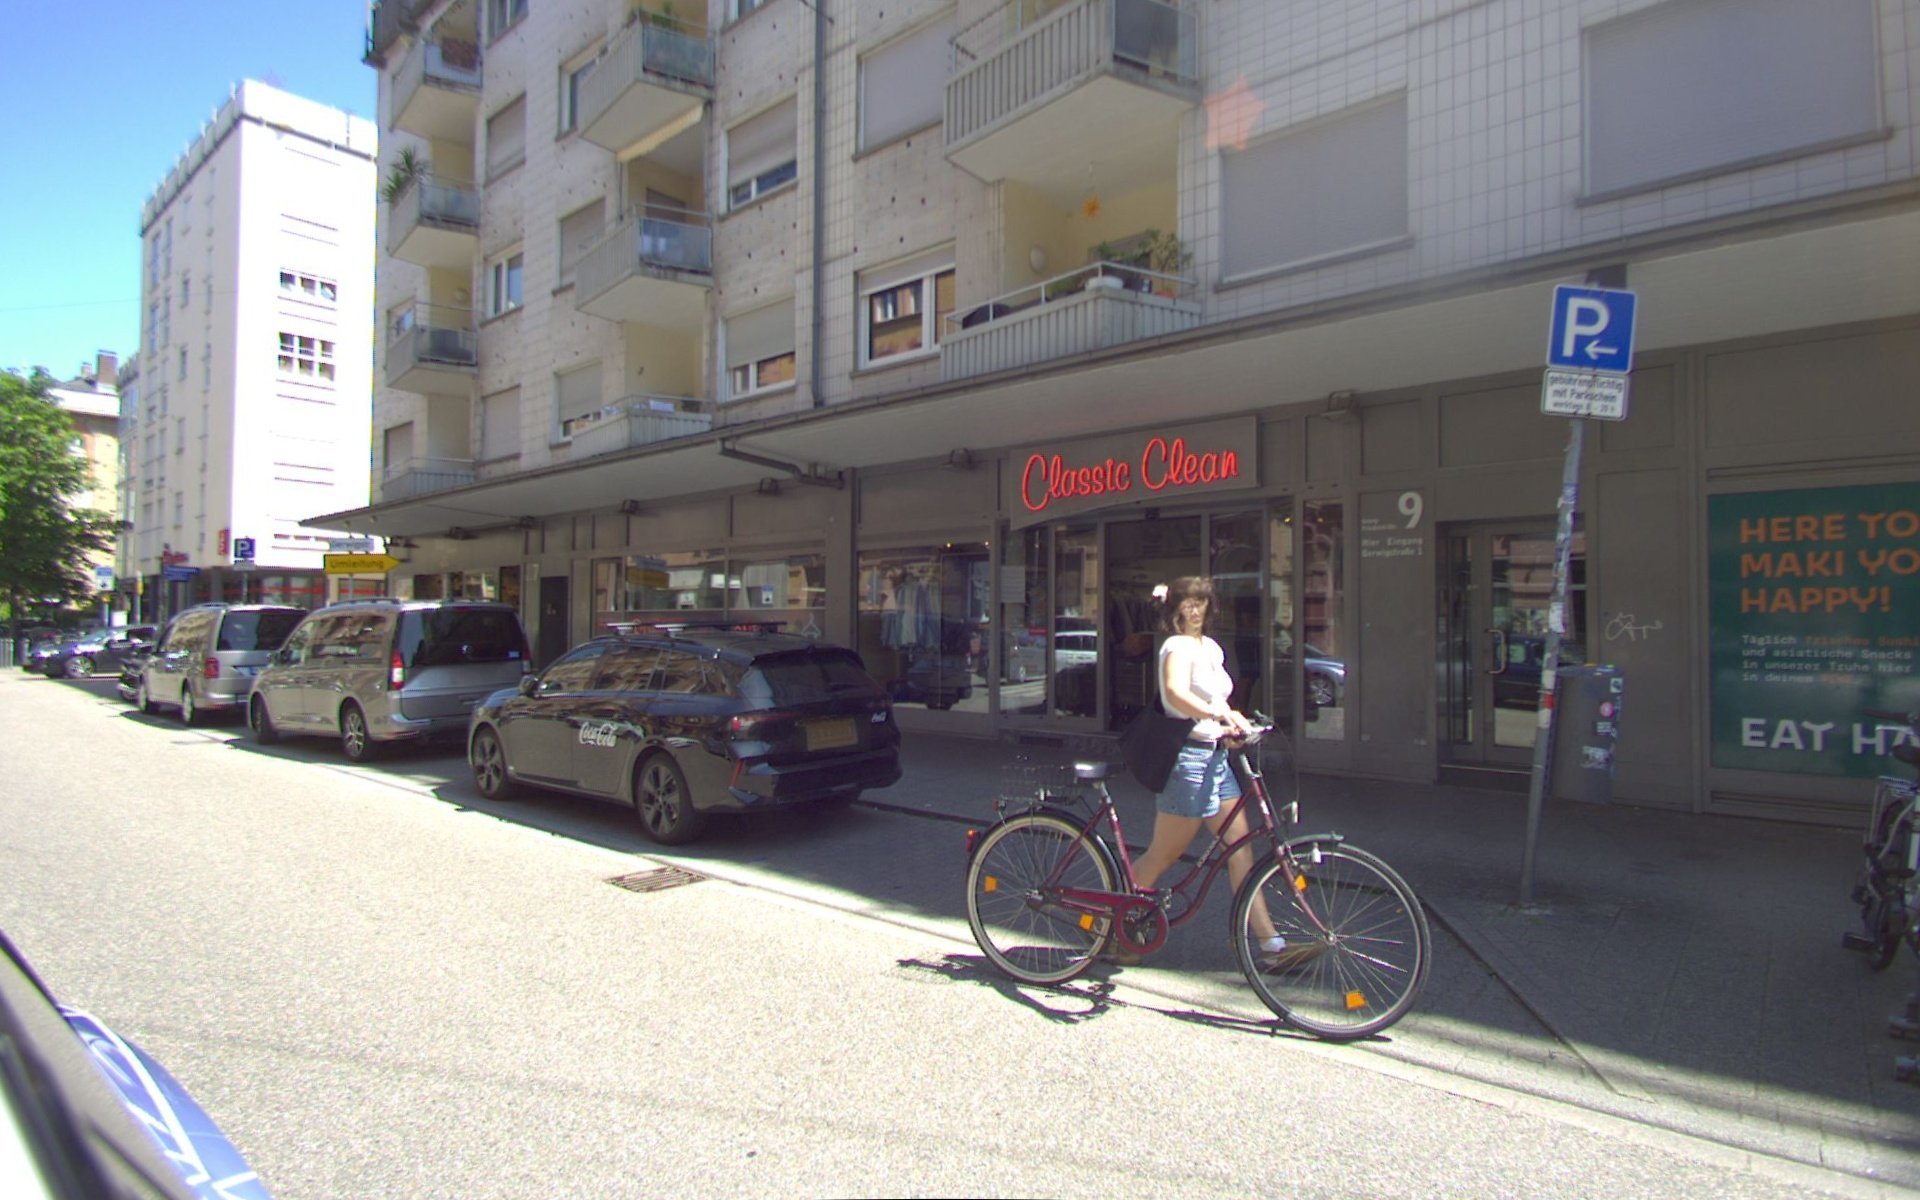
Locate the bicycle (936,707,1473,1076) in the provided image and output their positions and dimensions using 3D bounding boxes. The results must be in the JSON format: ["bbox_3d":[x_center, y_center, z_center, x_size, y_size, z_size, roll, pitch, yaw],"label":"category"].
[{"bbox_3d":[0.902,1.021,3.979,1.927,1.100,0.600,-1,-2,23],"label":"bicycle"}]

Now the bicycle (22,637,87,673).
[{"bbox_3d":[-29.762,1.795,33.275,1.586,1.099,0.371,0,-1,-44],"label":"bicycle"}]

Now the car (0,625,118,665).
[{"bbox_3d":[-37.182,1.833,41.486,1.651,1.541,3.836,-2,-3,40],"label":"car"}]

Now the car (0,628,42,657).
[{"bbox_3d":[-51.006,2.244,53.217,1.651,1.507,3.836,-2,-3,40],"label":"car"}]

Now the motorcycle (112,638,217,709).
[{"bbox_3d":[-15.075,1.385,19.215,1.530,1.293,0.394,0,0,-17],"label":"motorcycle"}]

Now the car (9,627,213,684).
[{"bbox_3d":[-22.803,1.462,27.313,1.809,1.436,3.848,-1,-3,32],"label":"car"}]

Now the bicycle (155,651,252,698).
[{"bbox_3d":[-16.239,1.586,21.745,1.684,0.964,0.411,0,-1,-7],"label":"bicycle"}]

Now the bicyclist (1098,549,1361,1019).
[{"bbox_3d":[1.127,0.685,4.205,0.972,1.719,0.620,-1,-2,23],"label":"bicyclist"}]

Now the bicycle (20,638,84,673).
[{"bbox_3d":[-30.669,1.857,34.194,1.586,1.099,0.371,0,-1,-44],"label":"bicycle"}]

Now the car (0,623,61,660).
[{"bbox_3d":[-46.734,2.036,49.574,1.651,1.760,3.836,-2,-3,40],"label":"car"}]

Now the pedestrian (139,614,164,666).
[{"bbox_3d":[-33.562,1.643,42.034,0.599,2.141,0.496,1,-2,-13],"label":"pedestrian"}]

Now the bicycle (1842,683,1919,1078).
[{"bbox_3d":[3.715,0.949,3.746,0.526,1.148,1.569,-1,0,36],"label":"bicycle"}]

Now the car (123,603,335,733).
[{"bbox_3d":[-12.144,1.025,16.673,4.898,1.843,1.770,-2,-2,41],"label":"car"}]

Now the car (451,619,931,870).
[{"bbox_3d":[-2.427,0.949,8.348,4.462,1.536,1.652,-2,-2,42],"label":"car"}]

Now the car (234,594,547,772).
[{"bbox_3d":[-7.200,0.916,12.591,4.693,1.825,1.771,-2,-2,38],"label":"car"}]
